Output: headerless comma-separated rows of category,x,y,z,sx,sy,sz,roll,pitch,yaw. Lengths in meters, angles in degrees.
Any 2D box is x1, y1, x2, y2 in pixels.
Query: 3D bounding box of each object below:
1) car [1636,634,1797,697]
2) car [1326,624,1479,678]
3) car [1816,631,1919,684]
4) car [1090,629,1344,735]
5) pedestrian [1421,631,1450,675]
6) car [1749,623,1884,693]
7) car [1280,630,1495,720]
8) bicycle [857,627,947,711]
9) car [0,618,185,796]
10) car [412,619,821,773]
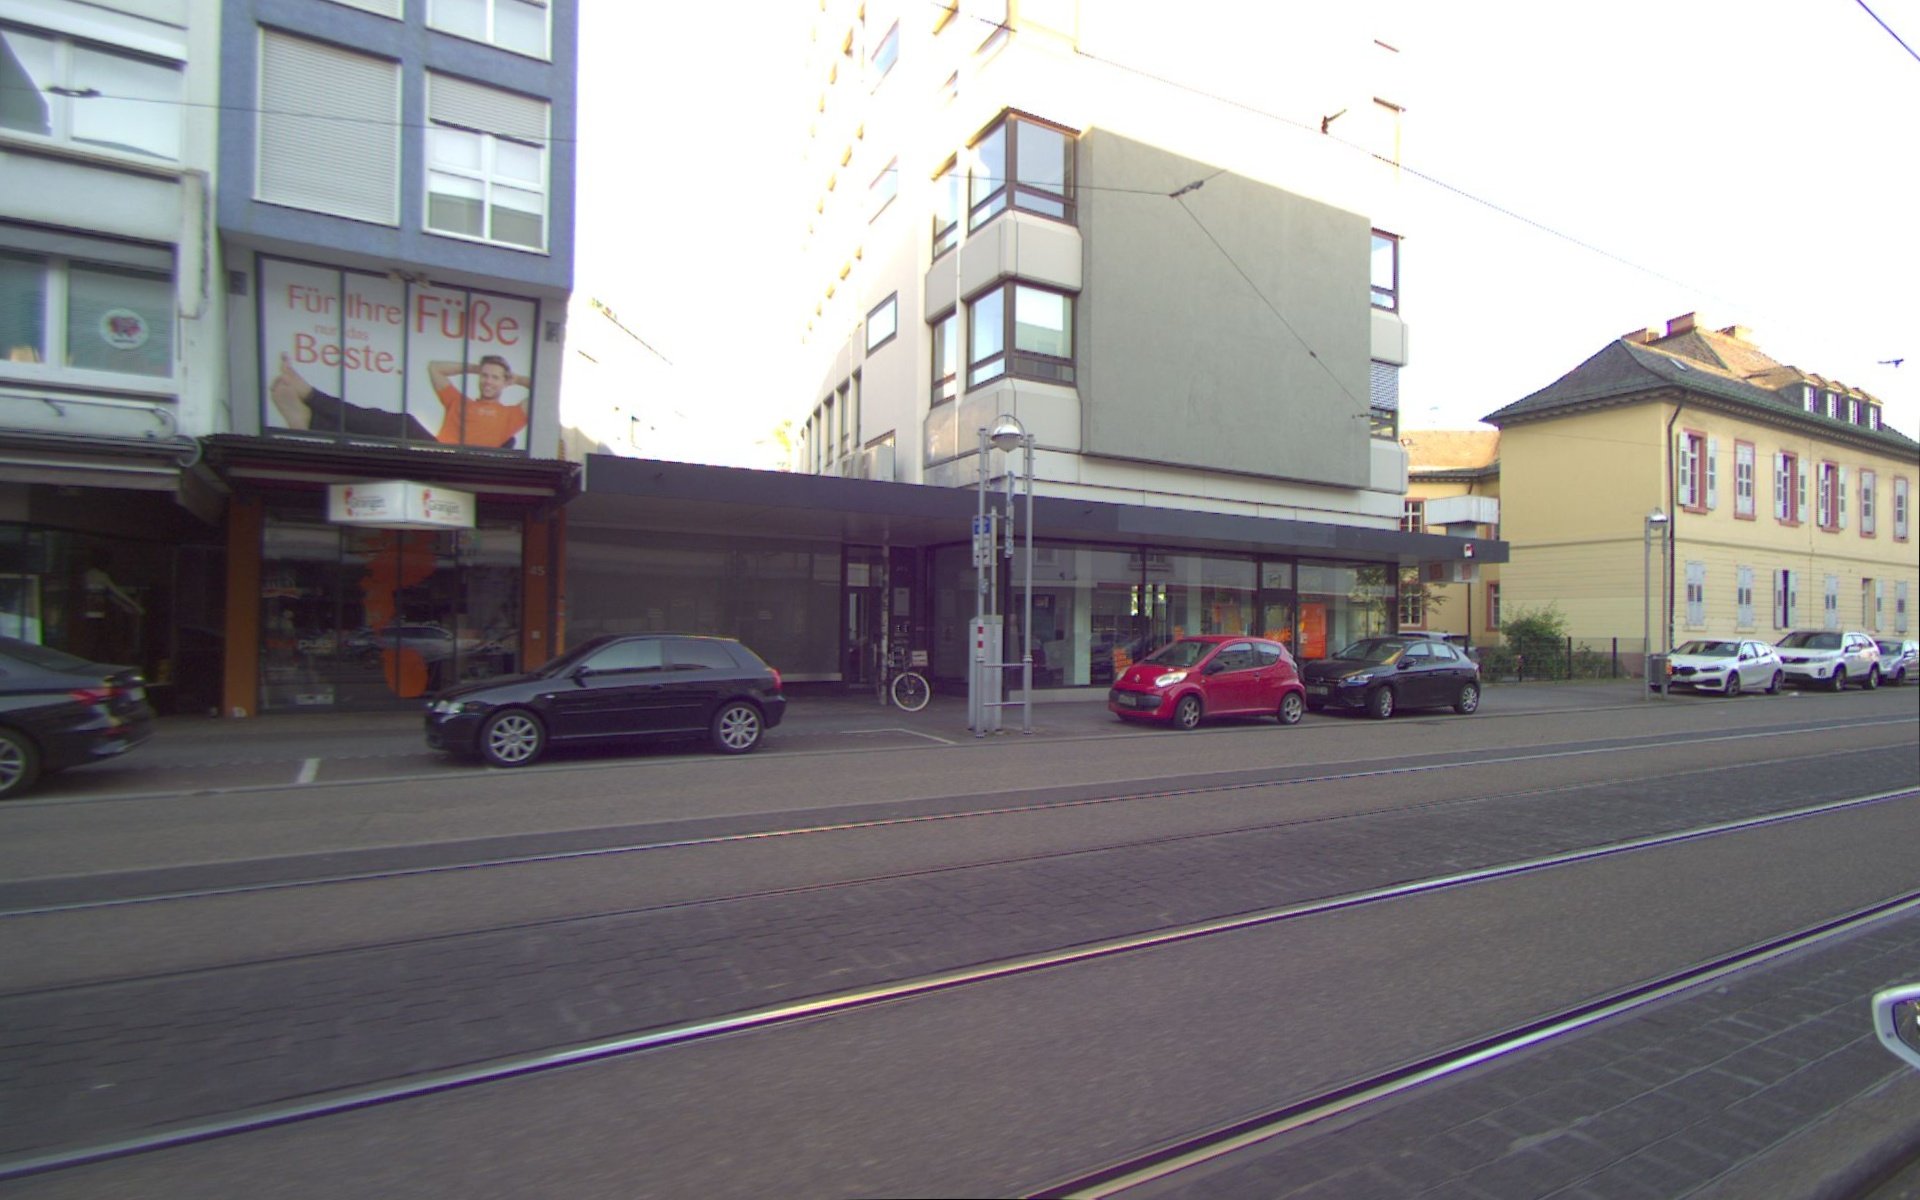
car,20.069,1.679,26.618,4.378,1.532,1.805,1,-2,-29
car,13.153,1.482,30.092,1.823,1.486,3.972,1,-2,-28
car,29.904,1.832,32.675,4.163,1.638,1.805,1,-2,-29
car,4.392,1.304,17.014,4.165,1.532,1.677,1,1,-30
pedestrian,17.617,1.943,37.227,0.668,1.593,0.741,1,-2,-31
car,25.210,1.667,29.527,4.450,1.809,1.801,2,1,-34
car,8.326,1.395,19.473,4.165,1.532,1.678,1,0,-30
bicycle,-1.092,1.215,18.362,0.825,1.444,1.958,1,-2,-31
car,-9.742,0.903,8.736,4.507,1.485,1.983,1,-1,-32
car,-4.040,1.035,12.044,4.394,1.532,1.678,1,-1,-30
